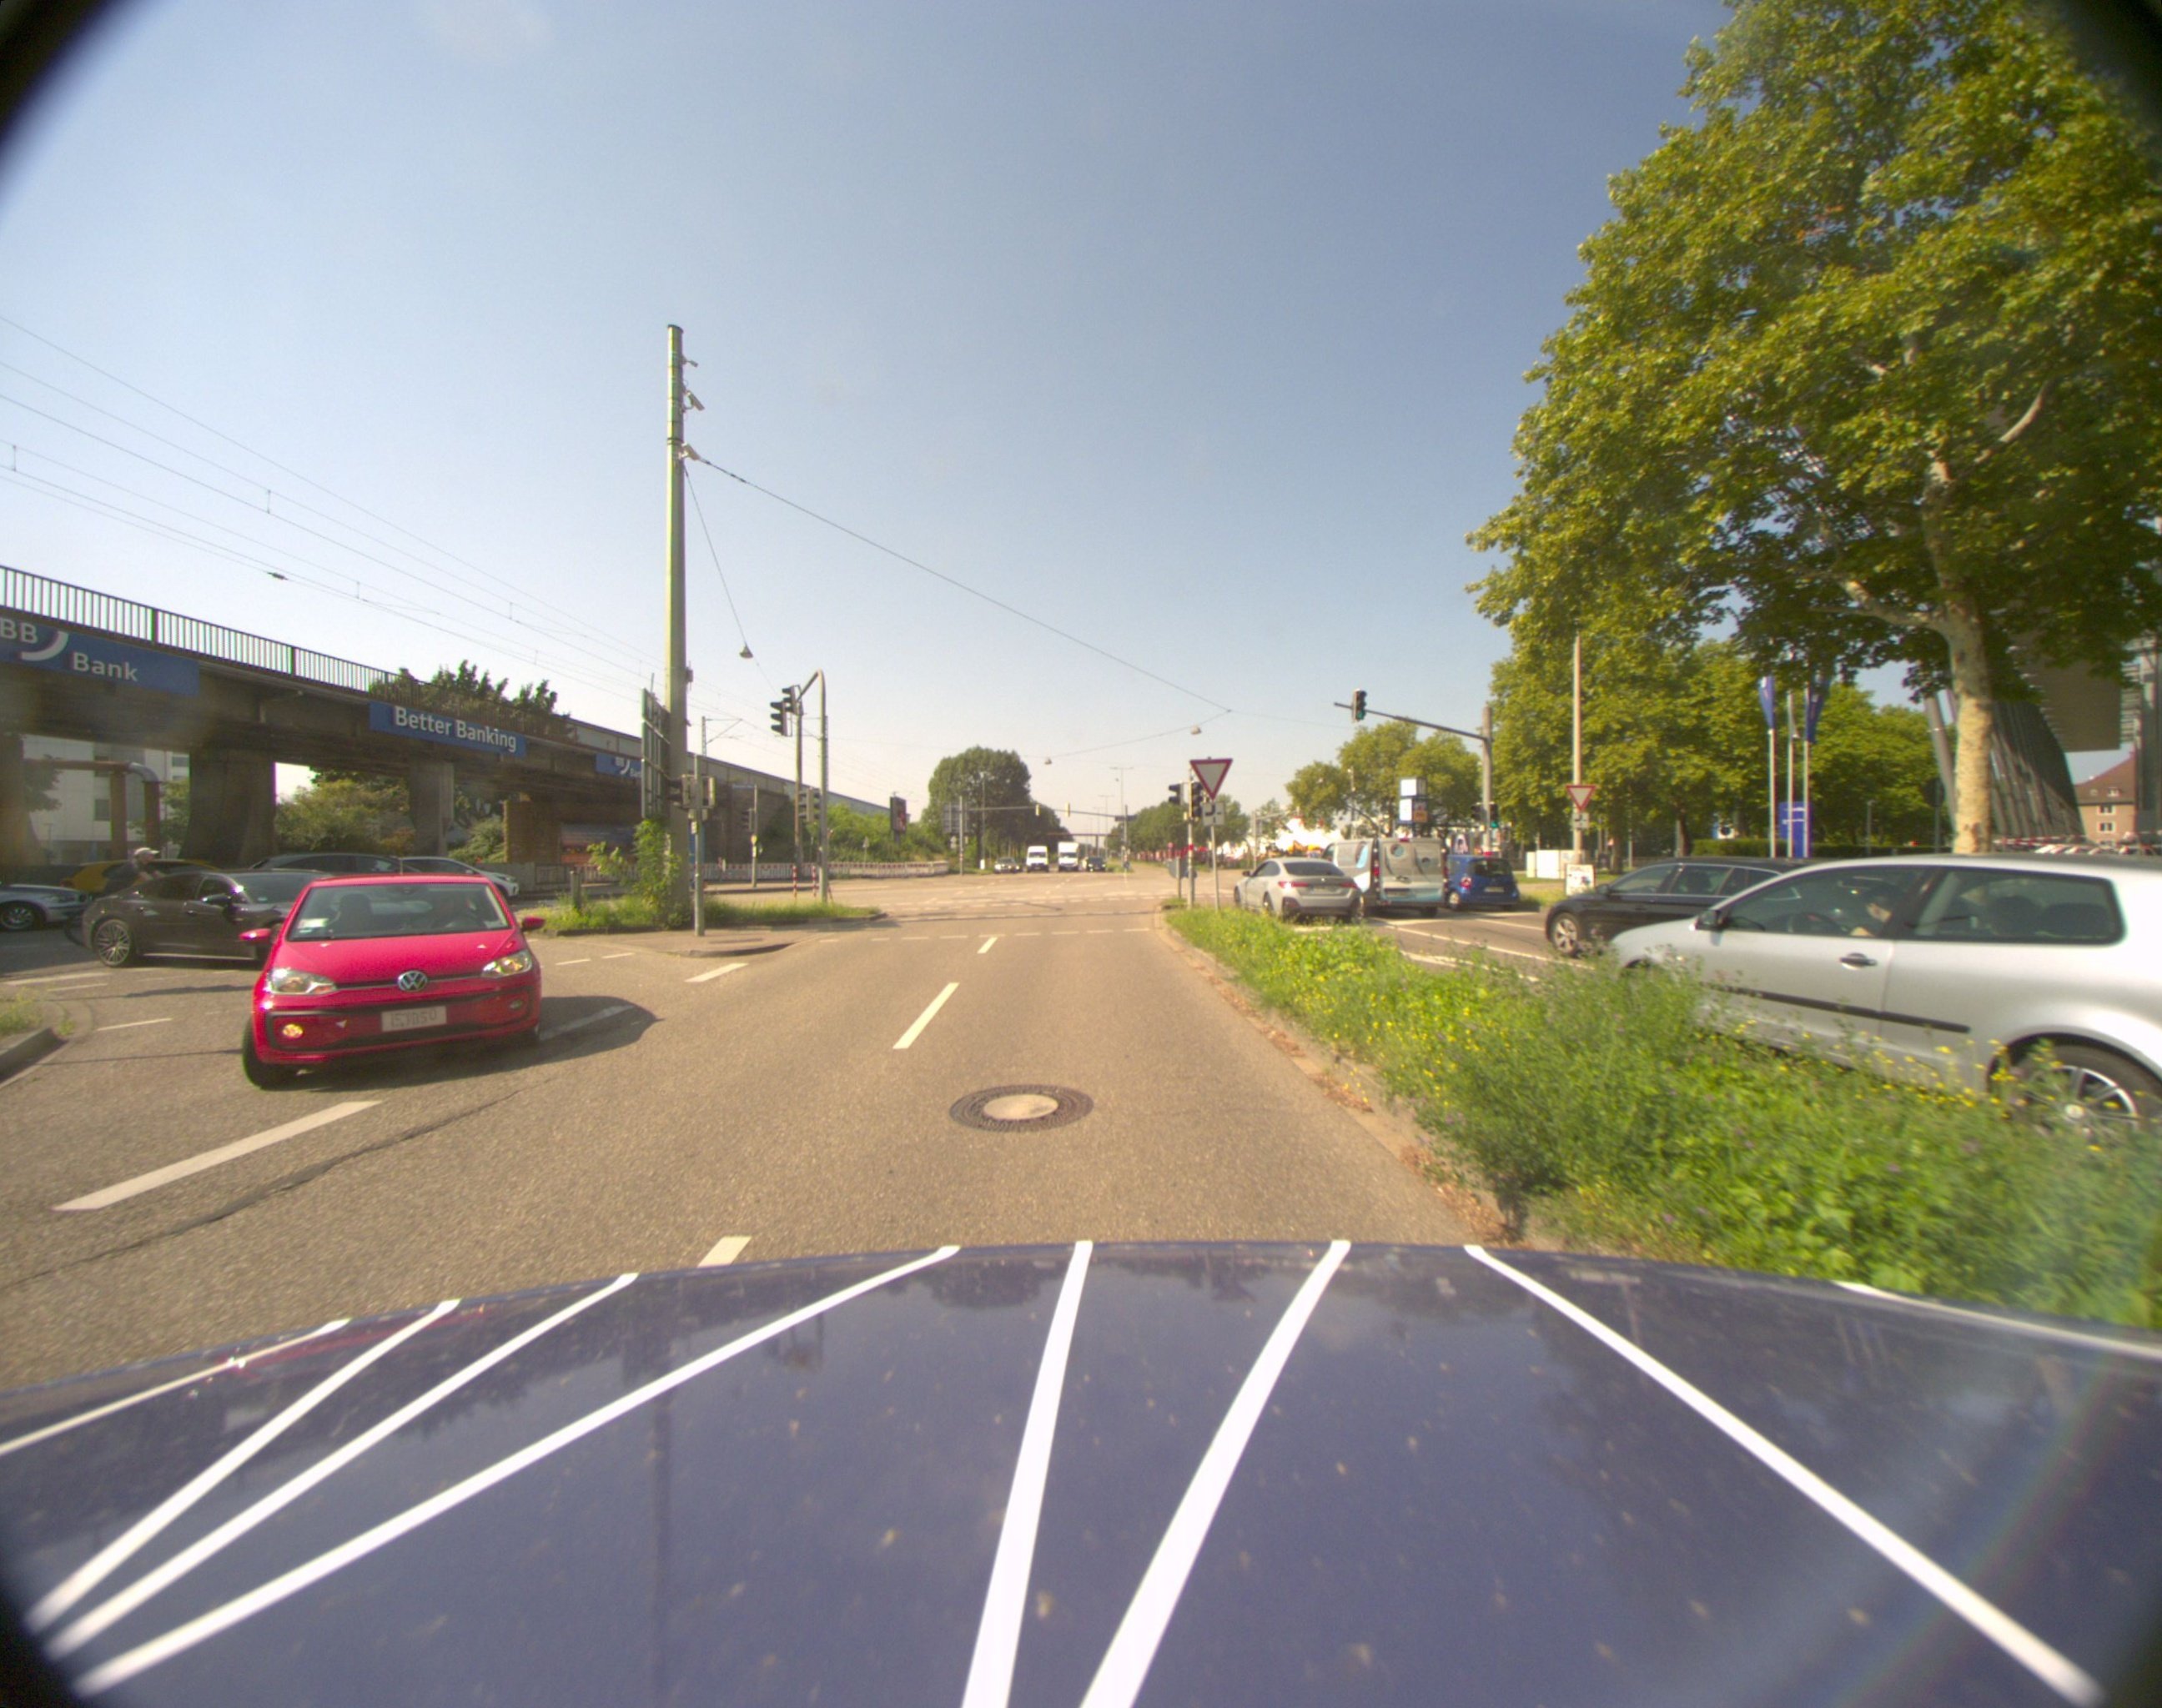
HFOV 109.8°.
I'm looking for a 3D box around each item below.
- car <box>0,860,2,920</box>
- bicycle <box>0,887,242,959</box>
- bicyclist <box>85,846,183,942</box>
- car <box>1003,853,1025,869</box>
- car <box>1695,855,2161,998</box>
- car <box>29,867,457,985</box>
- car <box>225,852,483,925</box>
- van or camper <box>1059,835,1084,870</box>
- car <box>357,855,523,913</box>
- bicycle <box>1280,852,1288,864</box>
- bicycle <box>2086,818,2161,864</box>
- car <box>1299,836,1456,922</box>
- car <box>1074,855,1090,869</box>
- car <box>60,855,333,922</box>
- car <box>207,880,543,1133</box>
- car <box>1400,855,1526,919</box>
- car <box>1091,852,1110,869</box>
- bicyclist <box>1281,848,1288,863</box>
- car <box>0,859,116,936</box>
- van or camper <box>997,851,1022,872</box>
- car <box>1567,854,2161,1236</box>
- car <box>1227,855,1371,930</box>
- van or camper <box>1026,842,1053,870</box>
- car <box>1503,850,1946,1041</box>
[{"bbox_3d":[-27.446,0.891,16.427,4.356,1.461,1.995,-1,0,-40],"label":"car"},{"bbox_3d":[-17.102,1.168,13.380,2.984,1.043,1.232,0,0,-41],"label":"bicycle"},{"bbox_3d":[-16.822,0.684,13.525,0.972,1.648,0.710,-1,0,-41],"label":"bicyclist"},{"bbox_3d":[-6.819,0.714,77.541,1.999,1.543,3.999,-2,0,-3],"label":"car"},{"bbox_3d":[11.296,0.821,10.651,1.784,1.502,4.257,1,1,-2],"label":"car"},{"bbox_3d":[-12.692,1.000,11.672,4.880,1.455,2.001,1,2,9],"label":"car"},{"bbox_3d":[-18.287,0.788,19.489,4.482,1.608,1.902,-1,2,-34],"label":"car"},{"bbox_3d":[-0.886,-0.079,78.410,2.248,3.341,6.853,-2,-2,1],"label":"van or camper"},{"bbox_3d":[-19.129,0.833,22.841,3.703,1.529,1.722,-1,1,-40],"label":"car"},{"bbox_3d":[18.848,0.368,70.484,0.571,1.049,1.496,-3,-2,20],"label":"bicycle"},{"bbox_3d":[48.709,-0.608,35.241,0.691,2.001,2.413,-1,-2,-36],"label":"bicycle"},{"bbox_3d":[7.547,0.592,20.035,1.932,1.946,5.212,0,0,-2],"label":"car"},{"bbox_3d":[0.129,1.011,93.916,1.655,1.654,3.757,-2,-2,4],"label":"car"},{"bbox_3d":[-22.815,0.890,19.932,4.357,1.563,1.995,2,-2,-40],"label":"car"},{"bbox_3d":[-5.986,1.015,6.575,1.647,1.459,3.544,-3,1,-43],"label":"car"},{"bbox_3d":[10.744,0.863,21.679,1.672,1.527,3.728,0,3,0],"label":"car"},{"bbox_3d":[2.005,0.718,79.191,1.905,1.603,5.198,-2,-2,1],"label":"car"},{"bbox_3d":[18.831,0.135,70.435,0.502,1.356,0.698,-3,-2,21],"label":"bicyclist"},{"bbox_3d":[-23.608,0.890,15.599,4.356,1.512,1.994,1,1,-40],"label":"car"},{"bbox_3d":[-6.669,0.712,71.035,1.850,1.765,4.176,-2,-2,0],"label":"van or camper"},{"bbox_3d":[5.086,0.795,4.533,1.618,1.526,4.100,1,-1,-2],"label":"car"},{"bbox_3d":[4.864,0.795,17.692,1.840,1.435,4.605,1,0,-2],"label":"car"},{"bbox_3d":[-3.953,0.277,73.972,2.248,2.467,6.867,-2,-2,-1],"label":"van or camper"},{"bbox_3d":[7.730,0.912,9.943,1.722,1.838,4.702,1,1,0],"label":"car"}]
